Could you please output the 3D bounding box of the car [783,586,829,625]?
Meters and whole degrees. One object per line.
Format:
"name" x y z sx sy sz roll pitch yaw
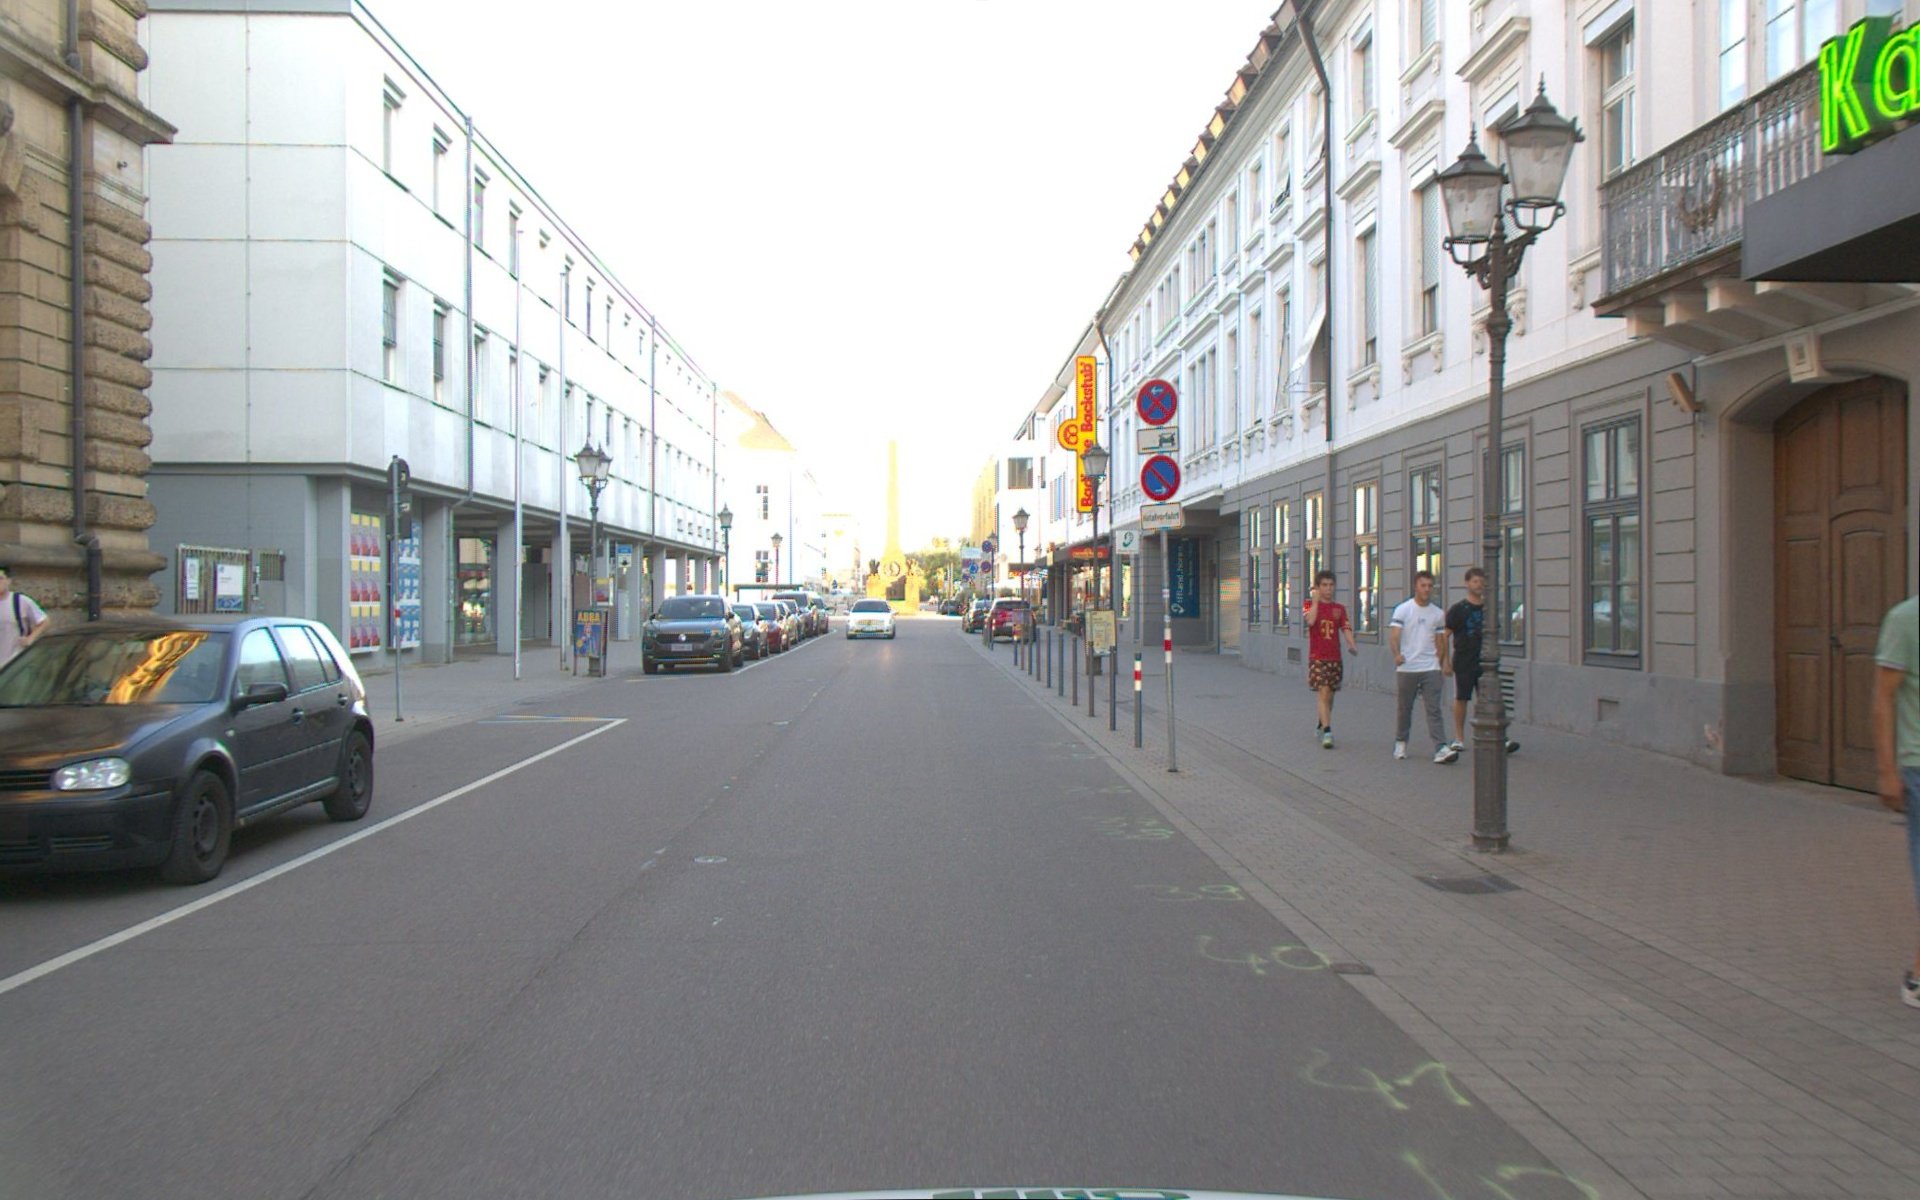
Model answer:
"car" -7.479 0.262 80.053 1.956 1.847 4.774 0 0 -9

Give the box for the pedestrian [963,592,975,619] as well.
"pedestrian" 0.575 0.357 104.680 0.676 1.676 0.695 -1 0 -2

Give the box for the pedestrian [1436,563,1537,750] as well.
"pedestrian" 5.088 0.531 16.032 0.699 1.760 0.873 0 0 0

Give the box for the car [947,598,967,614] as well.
"car" -0.273 0.584 162.899 1.953 1.489 4.000 -1 0 0

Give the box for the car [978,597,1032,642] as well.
"car" 1.579 0.664 58.953 1.724 1.550 3.676 0 0 -1

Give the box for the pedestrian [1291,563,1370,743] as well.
"pedestrian" 3.852 0.540 17.243 0.607 1.821 0.913 0 0 0

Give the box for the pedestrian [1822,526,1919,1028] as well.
"pedestrian" 3.619 0.617 6.083 0.595 1.760 0.558 0 0 -1

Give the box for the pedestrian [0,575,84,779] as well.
"pedestrian" -8.512 0.669 14.895 0.699 1.760 0.896 2 0 0

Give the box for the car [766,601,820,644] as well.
"car" -5.887 0.773 58.499 1.639 1.424 3.998 -1 0 -2

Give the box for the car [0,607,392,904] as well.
"car" -5.313 0.819 10.612 1.953 1.520 4.163 -1 0 -1

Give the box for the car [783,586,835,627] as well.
"car" -6.472 0.270 71.343 1.953 1.691 3.999 0 0 -1

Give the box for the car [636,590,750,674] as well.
"car" -5.540 0.632 34.708 1.749 1.643 4.165 -1 0 -1

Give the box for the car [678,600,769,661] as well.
"car" -5.925 0.740 41.867 1.749 1.433 4.087 -1 0 -1

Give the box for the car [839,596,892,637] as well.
"car" -3.444 0.583 60.867 1.749 1.433 4.087 -1 0 -1

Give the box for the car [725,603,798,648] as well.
"car" -6.353 0.785 53.276 1.953 1.378 3.999 0 0 -1

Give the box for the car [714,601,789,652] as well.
"car" -6.159 0.751 49.247 1.749 1.433 4.087 -1 0 -1

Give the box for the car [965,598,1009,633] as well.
"car" 1.152 0.666 72.792 1.765 1.489 4.116 0 0 -1

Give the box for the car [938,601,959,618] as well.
"car" -1.076 0.887 154.401 1.953 1.489 4.000 -1 0 0

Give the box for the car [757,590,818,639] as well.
"car" -6.659 0.535 64.231 1.953 1.758 4.514 -2 0 -1

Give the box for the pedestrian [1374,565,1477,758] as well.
"pedestrian" 4.366 0.558 15.555 0.732 1.760 0.881 0 0 2
